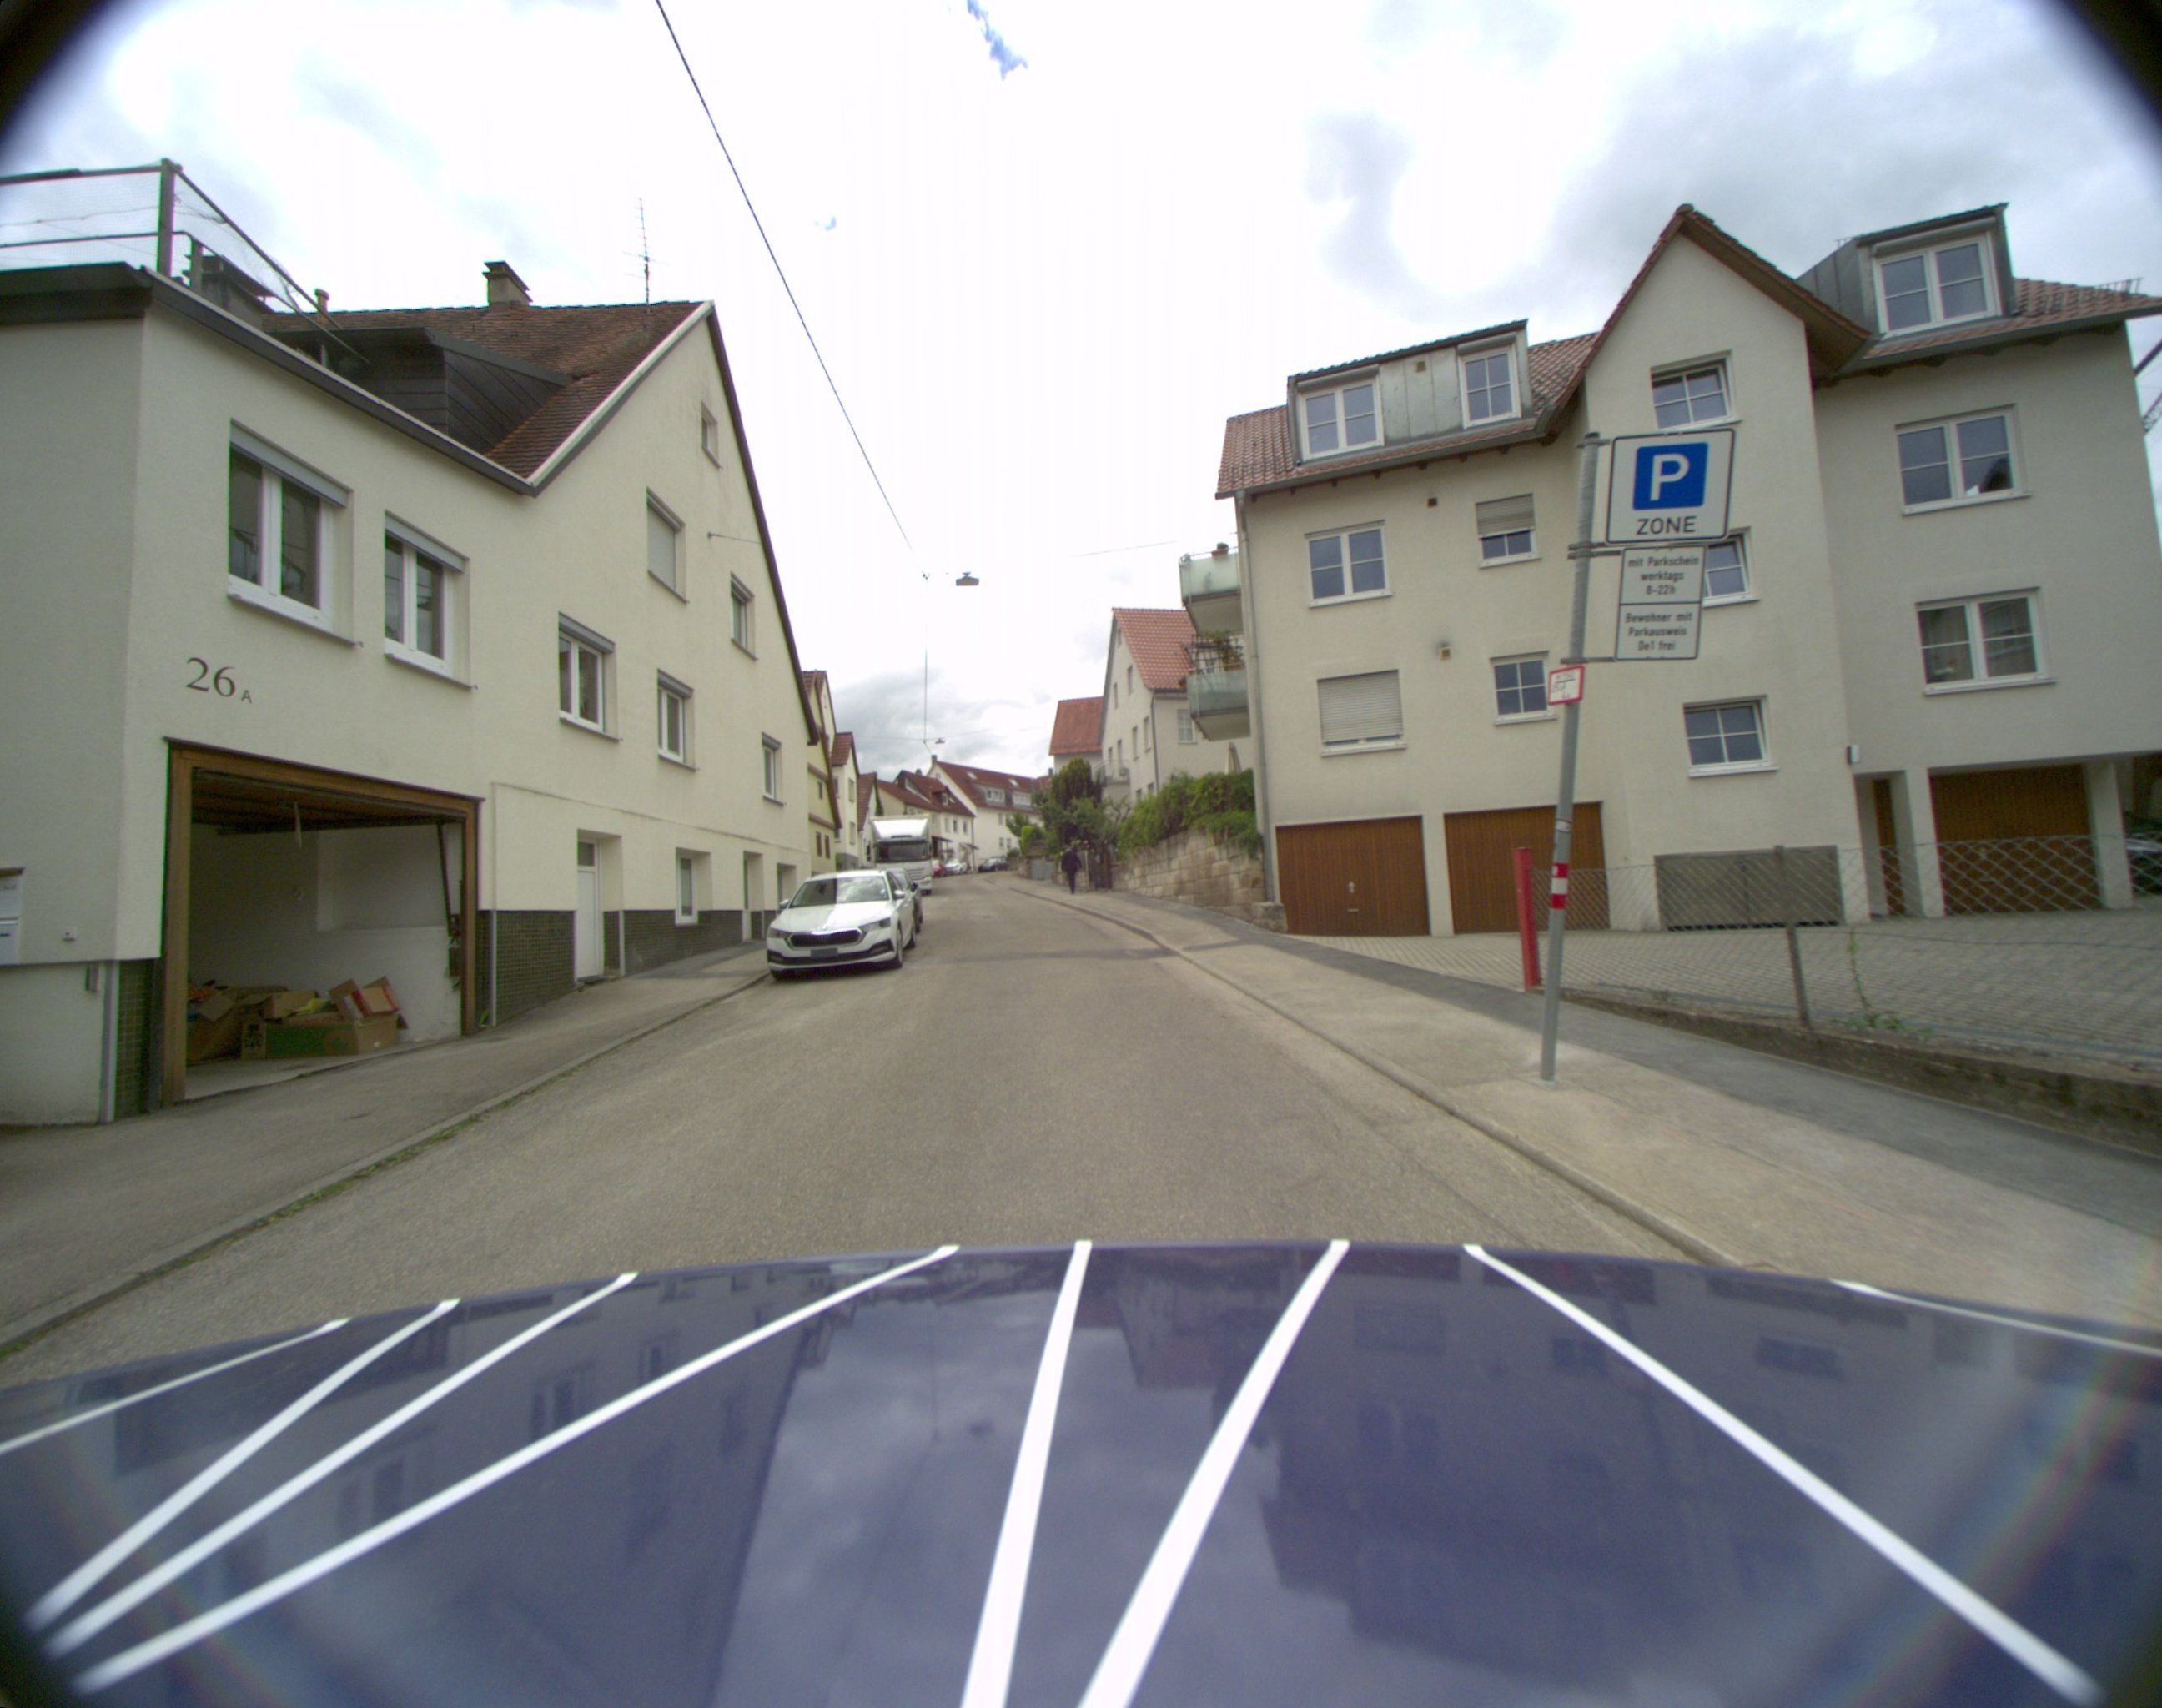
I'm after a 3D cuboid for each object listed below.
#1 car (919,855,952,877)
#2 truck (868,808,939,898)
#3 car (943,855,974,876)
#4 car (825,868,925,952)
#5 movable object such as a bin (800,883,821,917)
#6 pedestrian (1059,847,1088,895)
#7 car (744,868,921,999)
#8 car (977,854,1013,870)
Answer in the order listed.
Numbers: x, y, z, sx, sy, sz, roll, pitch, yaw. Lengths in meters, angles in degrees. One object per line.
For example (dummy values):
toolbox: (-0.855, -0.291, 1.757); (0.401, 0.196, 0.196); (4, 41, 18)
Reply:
car: (-11.073, 0.869, 58.223); (1.683, 1.443, 3.851); (-4, 1, 0)
truck: (-8.203, -0.031, 35.325); (2.685, 3.576, 8.096); (-3, 0, -13)
car: (-10.520, 0.951, 65.390); (1.614, 1.523, 2.899); (-6, 0, 10)
car: (-4.453, 1.130, 16.963); (1.679, 1.400, 4.047); (-5, 1, -10)
movable object such as a bin: (-7.582, 1.285, 21.329); (0.465, 0.911, 0.541); (1, 1, -10)
pedestrian: (-0.279, 0.601, 27.195); (0.843, 1.668, 0.975); (-2, 1, -12)
car: (-3.668, 1.061, 12.021); (1.800, 1.437, 4.294); (-4, 1, -8)
car: (-8.252, 0.744, 73.185); (1.720, 1.398, 4.008); (-5, -1, 19)
